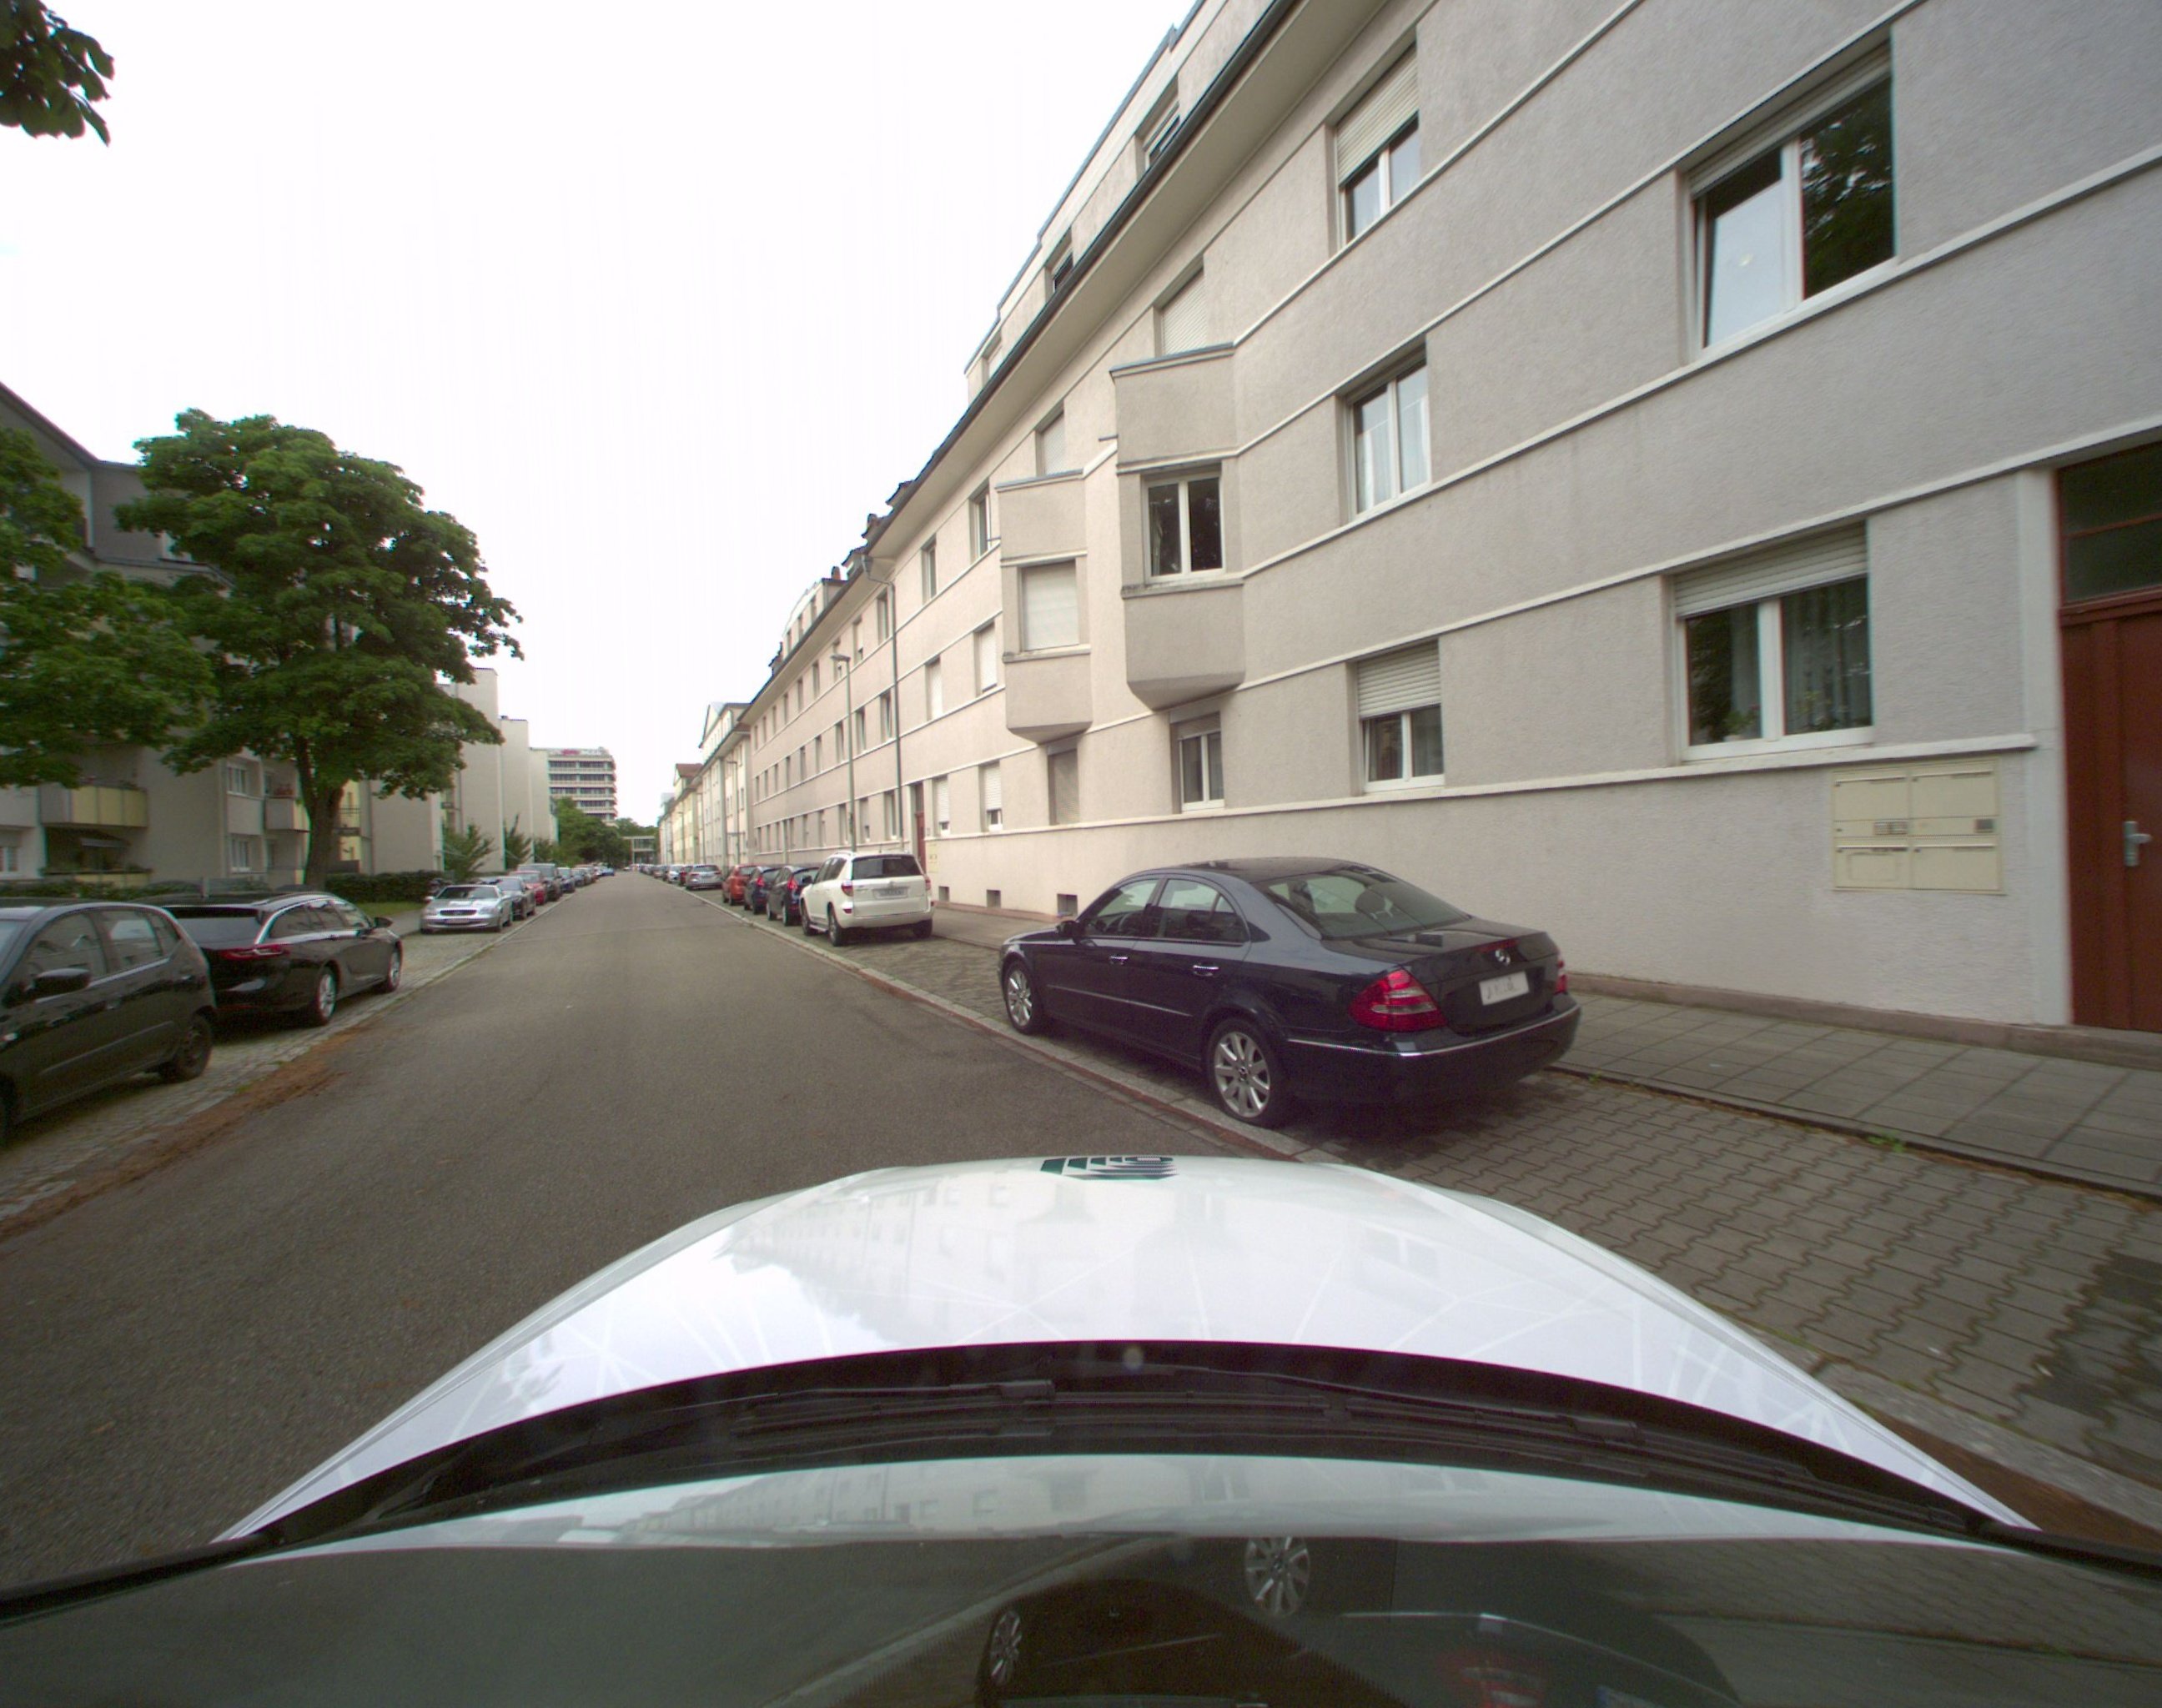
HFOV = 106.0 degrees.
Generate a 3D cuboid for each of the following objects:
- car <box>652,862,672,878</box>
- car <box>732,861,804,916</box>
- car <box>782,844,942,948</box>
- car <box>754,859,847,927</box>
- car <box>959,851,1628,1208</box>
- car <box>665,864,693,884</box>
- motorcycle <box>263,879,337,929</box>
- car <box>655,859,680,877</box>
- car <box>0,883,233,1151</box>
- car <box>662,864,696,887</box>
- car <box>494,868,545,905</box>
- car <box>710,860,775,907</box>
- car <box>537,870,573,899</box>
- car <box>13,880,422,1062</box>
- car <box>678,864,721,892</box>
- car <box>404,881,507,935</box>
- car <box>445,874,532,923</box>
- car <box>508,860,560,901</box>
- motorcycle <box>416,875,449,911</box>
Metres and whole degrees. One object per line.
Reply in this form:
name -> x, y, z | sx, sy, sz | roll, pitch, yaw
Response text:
car -> -46.513, 1.755, 90.363 | 1.831, 1.577, 3.847 | -1, 0, -30
car -> -9.733, 0.993, 25.170 | 1.576, 1.473, 3.662 | -4, 1, -28
car -> -4.438, 0.718, 16.013 | 1.855, 1.673, 4.246 | -3, 1, -31
car -> -7.184, 0.913, 20.636 | 1.576, 1.478, 3.835 | -3, 1, -28
car -> 0.890, 0.750, 5.983 | 1.756, 1.420, 4.901 | -3, 1, -31
car -> -32.410, 1.581, 65.630 | 1.831, 1.504, 3.716 | -1, 0, -30
motorcycle -> -21.887, 1.358, 22.895 | 0.685, 1.223, 3.038 | -1, 0, -28
car -> -38.480, 1.245, 75.726 | 1.831, 1.577, 3.716 | -1, 0, -30
car -> -7.367, 0.980, 5.220 | 1.533, 1.493, 3.560 | 1, -1, -27
car -> -27.358, 1.443, 55.349 | 1.681, 1.420, 3.961 | -4, 2, -31
car -> -24.971, 1.411, 36.301 | 1.573, 1.569, 3.606 | 1, -1, -30
car -> -12.449, 1.018, 29.851 | 1.707, 1.525, 3.789 | -3, 1, -29
car -> -33.182, 1.902, 51.430 | 1.781, 1.643, 4.311 | -1, 0, -31
car -> -9.557, 1.094, 9.626 | 1.878, 1.464, 4.789 | 1, -1, -29
car -> -21.714, 1.306, 46.230 | 1.766, 1.467, 4.555 | -1, 0, -31
car -> -17.335, 1.430, 22.753 | 1.707, 1.258, 3.977 | 0, -1, -29
car -> -19.854, 1.441, 27.477 | 1.853, 1.421, 4.585 | 0, -1, -29
car -> -27.084, 1.263, 40.450 | 1.891, 1.904, 4.980 | 1, -1, -31
motorcycle -> -25.596, 1.505, 32.178 | 0.681, 1.356, 2.208 | 1, -1, -30
